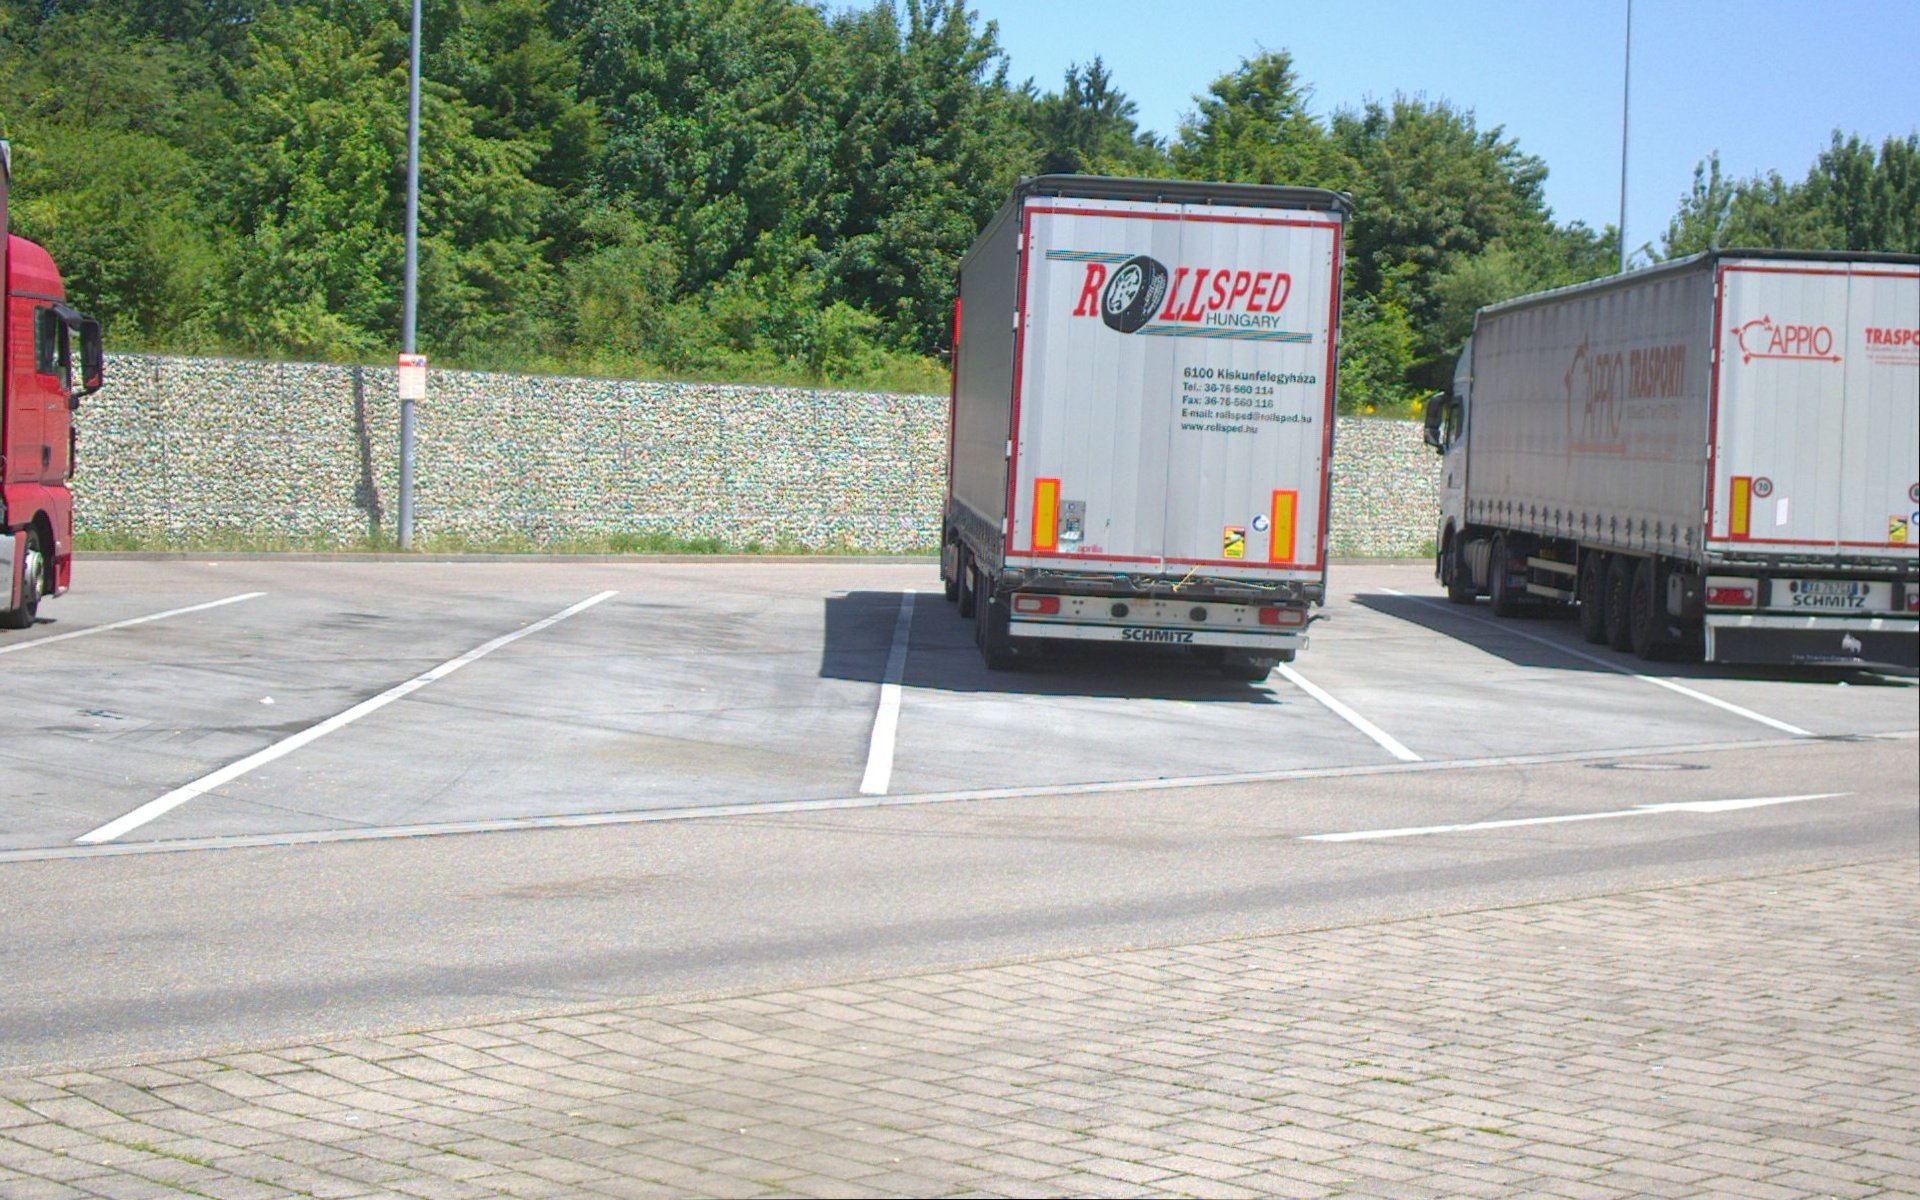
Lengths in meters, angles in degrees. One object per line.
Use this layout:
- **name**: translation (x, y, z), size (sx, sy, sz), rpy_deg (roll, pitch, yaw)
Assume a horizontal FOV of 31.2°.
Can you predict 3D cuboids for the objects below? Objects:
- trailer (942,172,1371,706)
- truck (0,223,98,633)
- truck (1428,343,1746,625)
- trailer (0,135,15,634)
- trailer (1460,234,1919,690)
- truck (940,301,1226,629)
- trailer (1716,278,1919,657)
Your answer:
- **trailer**: translation (1.464, -1.565, 33.127), size (2.858, 3.958, 13.765), rpy_deg (2, 3, -1)
- **truck**: translation (-9.247, -1.455, 28.204), size (2.812, 3.351, 5.975), rpy_deg (2, 3, -1)
- **truck**: translation (8.090, -1.565, 45.148), size (2.865, 3.351, 5.975), rpy_deg (2, 3, -1)
- **trailer**: translation (-9.159, -1.464, 21.385), size (2.821, 4.057, 13.765), rpy_deg (2, 3, -1)
- **trailer**: translation (8.192, -1.584, 38.381), size (2.858, 4.095, 13.765), rpy_deg (2, 3, -1)
- **truck**: translation (1.279, -1.570, 39.328), size (2.865, 3.351, 5.975), rpy_deg (2, 3, -1)
- **trailer**: translation (11.789, -1.499, 39.394), size (2.858, 4.095, 13.765), rpy_deg (2, 3, -1)
